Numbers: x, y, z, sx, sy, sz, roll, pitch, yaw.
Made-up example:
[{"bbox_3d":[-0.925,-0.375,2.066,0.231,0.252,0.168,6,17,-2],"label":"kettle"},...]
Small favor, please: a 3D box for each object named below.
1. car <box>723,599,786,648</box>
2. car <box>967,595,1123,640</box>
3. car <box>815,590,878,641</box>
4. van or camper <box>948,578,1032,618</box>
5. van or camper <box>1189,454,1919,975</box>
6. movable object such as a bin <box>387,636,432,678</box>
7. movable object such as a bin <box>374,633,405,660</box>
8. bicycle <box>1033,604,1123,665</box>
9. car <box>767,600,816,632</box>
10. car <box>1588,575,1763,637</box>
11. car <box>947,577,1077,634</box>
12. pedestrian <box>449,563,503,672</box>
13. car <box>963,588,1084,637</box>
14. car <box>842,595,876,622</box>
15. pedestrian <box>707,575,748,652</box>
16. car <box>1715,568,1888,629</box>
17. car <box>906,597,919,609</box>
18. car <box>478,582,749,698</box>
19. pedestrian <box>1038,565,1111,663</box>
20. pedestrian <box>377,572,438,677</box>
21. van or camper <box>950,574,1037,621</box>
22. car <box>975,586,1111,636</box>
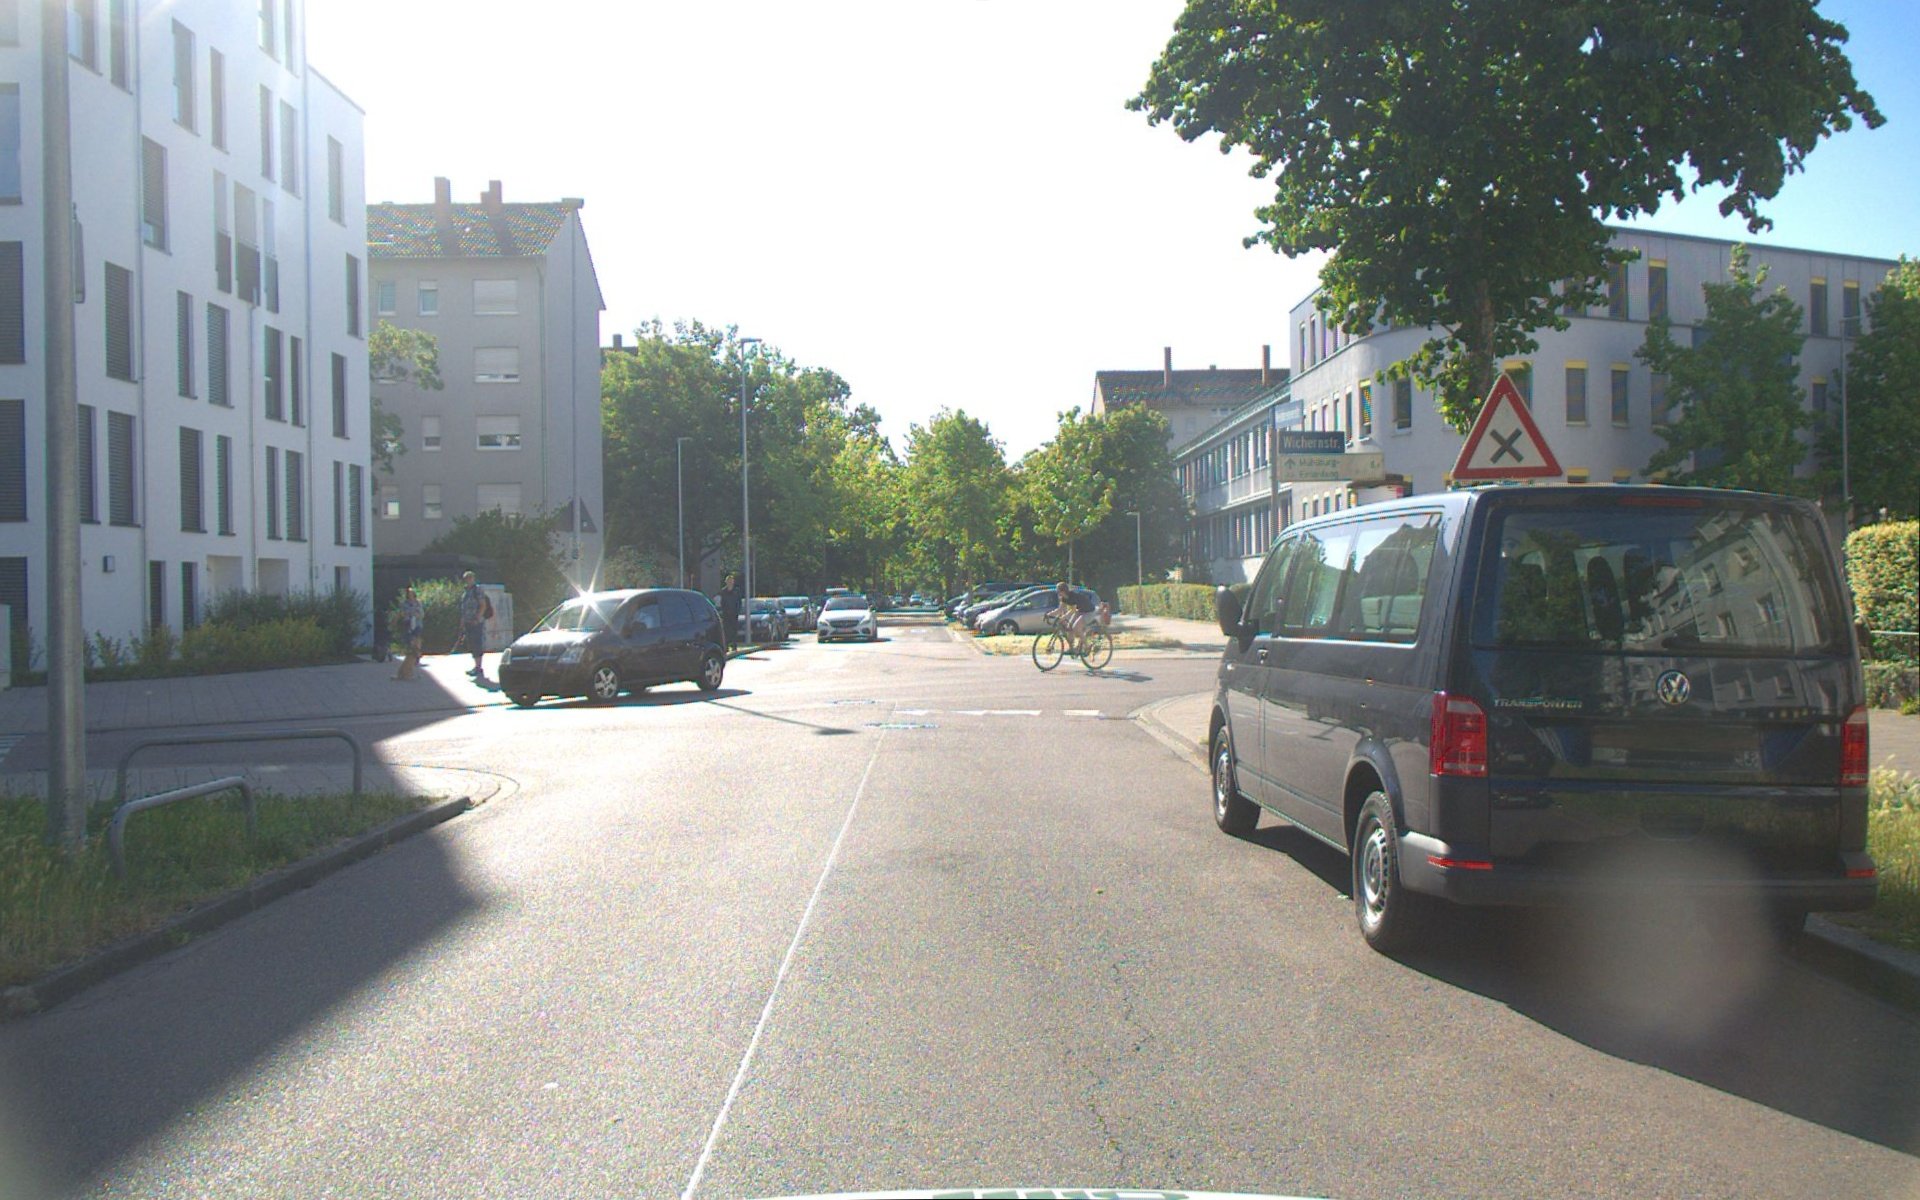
[{"bbox_3d":[-6.449,0.742,52.209,1.634,1.445,3.997,1,-1,-3],"label":"car"},{"bbox_3d":[2.689,0.565,52.880,4.775,1.296,1.727,-1,-1,-6],"label":"car"},{"bbox_3d":[-3.667,0.510,54.163,1.847,1.531,4.636,2,-1,-2],"label":"car"},{"bbox_3d":[1.435,-0.071,79.347,3.906,1.803,1.999,1,-1,-2],"label":"van or camper"},{"bbox_3d":[2.620,0.455,8.844,1.949,1.895,5.386,1,-1,-1],"label":"van or camper"},{"bbox_3d":[-9.671,1.001,29.085,0.266,0.691,0.849,-1,0,21],"label":"movable object such as a bin"},{"bbox_3d":[-12.174,0.987,35.308,0.266,0.551,0.686,0,-1,19],"label":"movable object such as a bin"},{"bbox_3d":[2.072,0.600,28.797,0.540,1.029,1.909,-1,-1,40],"label":"bicycle"},{"bbox_3d":[-6.829,0.651,67.436,1.596,1.255,4.191,1,-1,-1],"label":"car"},{"bbox_3d":[17.426,0.118,40.256,4.163,1.435,1.778,-1,1,-29],"label":"car"},{"bbox_3d":[1.730,0.195,56.050,4.194,1.795,1.998,1,-1,-4],"label":"car"},{"bbox_3d":[-8.714,0.321,29.808,0.829,1.918,0.789,1,-1,-11],"label":"pedestrian"},{"bbox_3d":[2.228,0.445,58.888,4.120,1.624,1.999,1,-1,-3],"label":"car"},{"bbox_3d":[-7.914,0.671,130.410,1.951,2.049,4.003,1,-1,7],"label":"car"},{"bbox_3d":[-5.374,0.305,38.202,0.853,1.744,0.978,-1,0,-5],"label":"pedestrian"},{"bbox_3d":[21.633,-0.049,42.519,4.317,1.505,1.896,0,0,-29],"label":"car"},{"bbox_3d":[-7.286,0.451,252.344,1.953,1.778,3.999,-1,0,-2],"label":"car"},{"bbox_3d":[-5.062,0.583,24.719,1.704,1.557,4.107,1,-1,28],"label":"car"},{"bbox_3d":[1.986,0.250,28.748,1.032,1.669,0.685,2,-1,-31],"label":"pedestrian"},{"bbox_3d":[-11.598,0.497,34.719,0.762,2.157,0.953,0,1,42],"label":"pedestrian"},{"bbox_3d":[1.515,-0.098,76.637,3.906,2.049,1.999,1,-1,-2],"label":"van or camper"},{"bbox_3d":[2.516,0.331,50.839,4.008,1.518,1.727,0,-1,-4],"label":"car"}]
